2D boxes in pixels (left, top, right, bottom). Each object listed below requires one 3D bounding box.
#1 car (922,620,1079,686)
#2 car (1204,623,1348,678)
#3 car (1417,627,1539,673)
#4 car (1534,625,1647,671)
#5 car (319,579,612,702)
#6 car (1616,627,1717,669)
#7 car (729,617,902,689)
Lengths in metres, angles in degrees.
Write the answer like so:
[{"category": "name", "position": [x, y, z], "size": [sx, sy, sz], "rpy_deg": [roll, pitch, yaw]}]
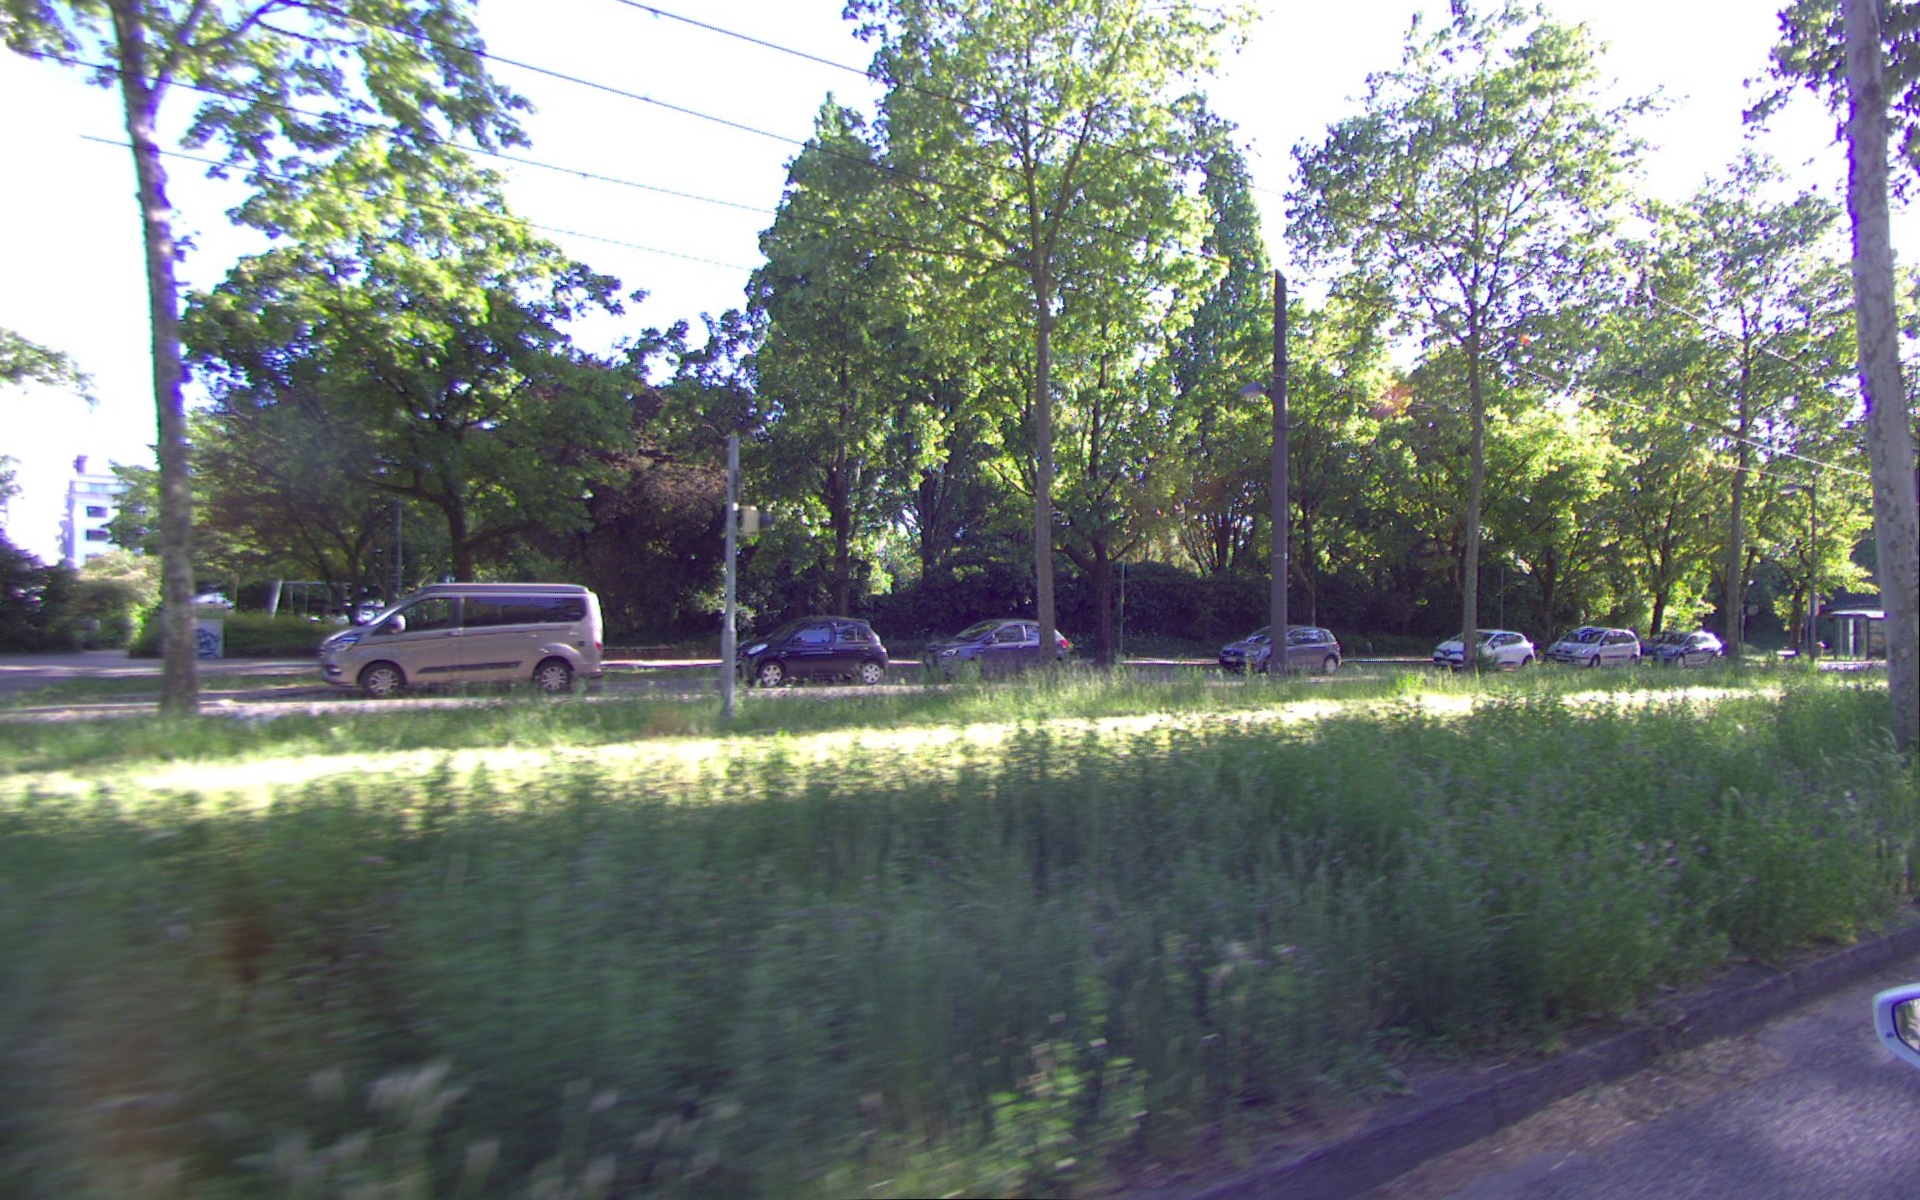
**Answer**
[{"category": "car", "position": [1.040, 1.310, 25.645], "size": [3.530, 1.472, 1.864], "rpy_deg": [1, 2, -28]}, {"category": "car", "position": [9.709, 1.510, 30.841], "size": [3.950, 1.472, 1.985], "rpy_deg": [1, 2, -28]}, {"category": "car", "position": [18.573, 1.762, 36.025], "size": [3.950, 1.472, 1.985], "rpy_deg": [1, 2, -28]}, {"category": "car", "position": [24.921, 1.864, 39.709], "size": [4.116, 1.611, 1.985], "rpy_deg": [1, 2, -28]}, {"category": "car", "position": [-9.411, 0.741, 19.408], "size": [4.854, 2.121, 1.638], "rpy_deg": [1, 1, -29]}, {"category": "car", "position": [29.726, 1.989, 42.242], "size": [4.116, 1.611, 1.779], "rpy_deg": [1, 2, -28]}, {"category": "car", "position": [-3.328, 1.196, 23.230], "size": [3.618, 1.472, 1.638], "rpy_deg": [1, 2, -28]}]
